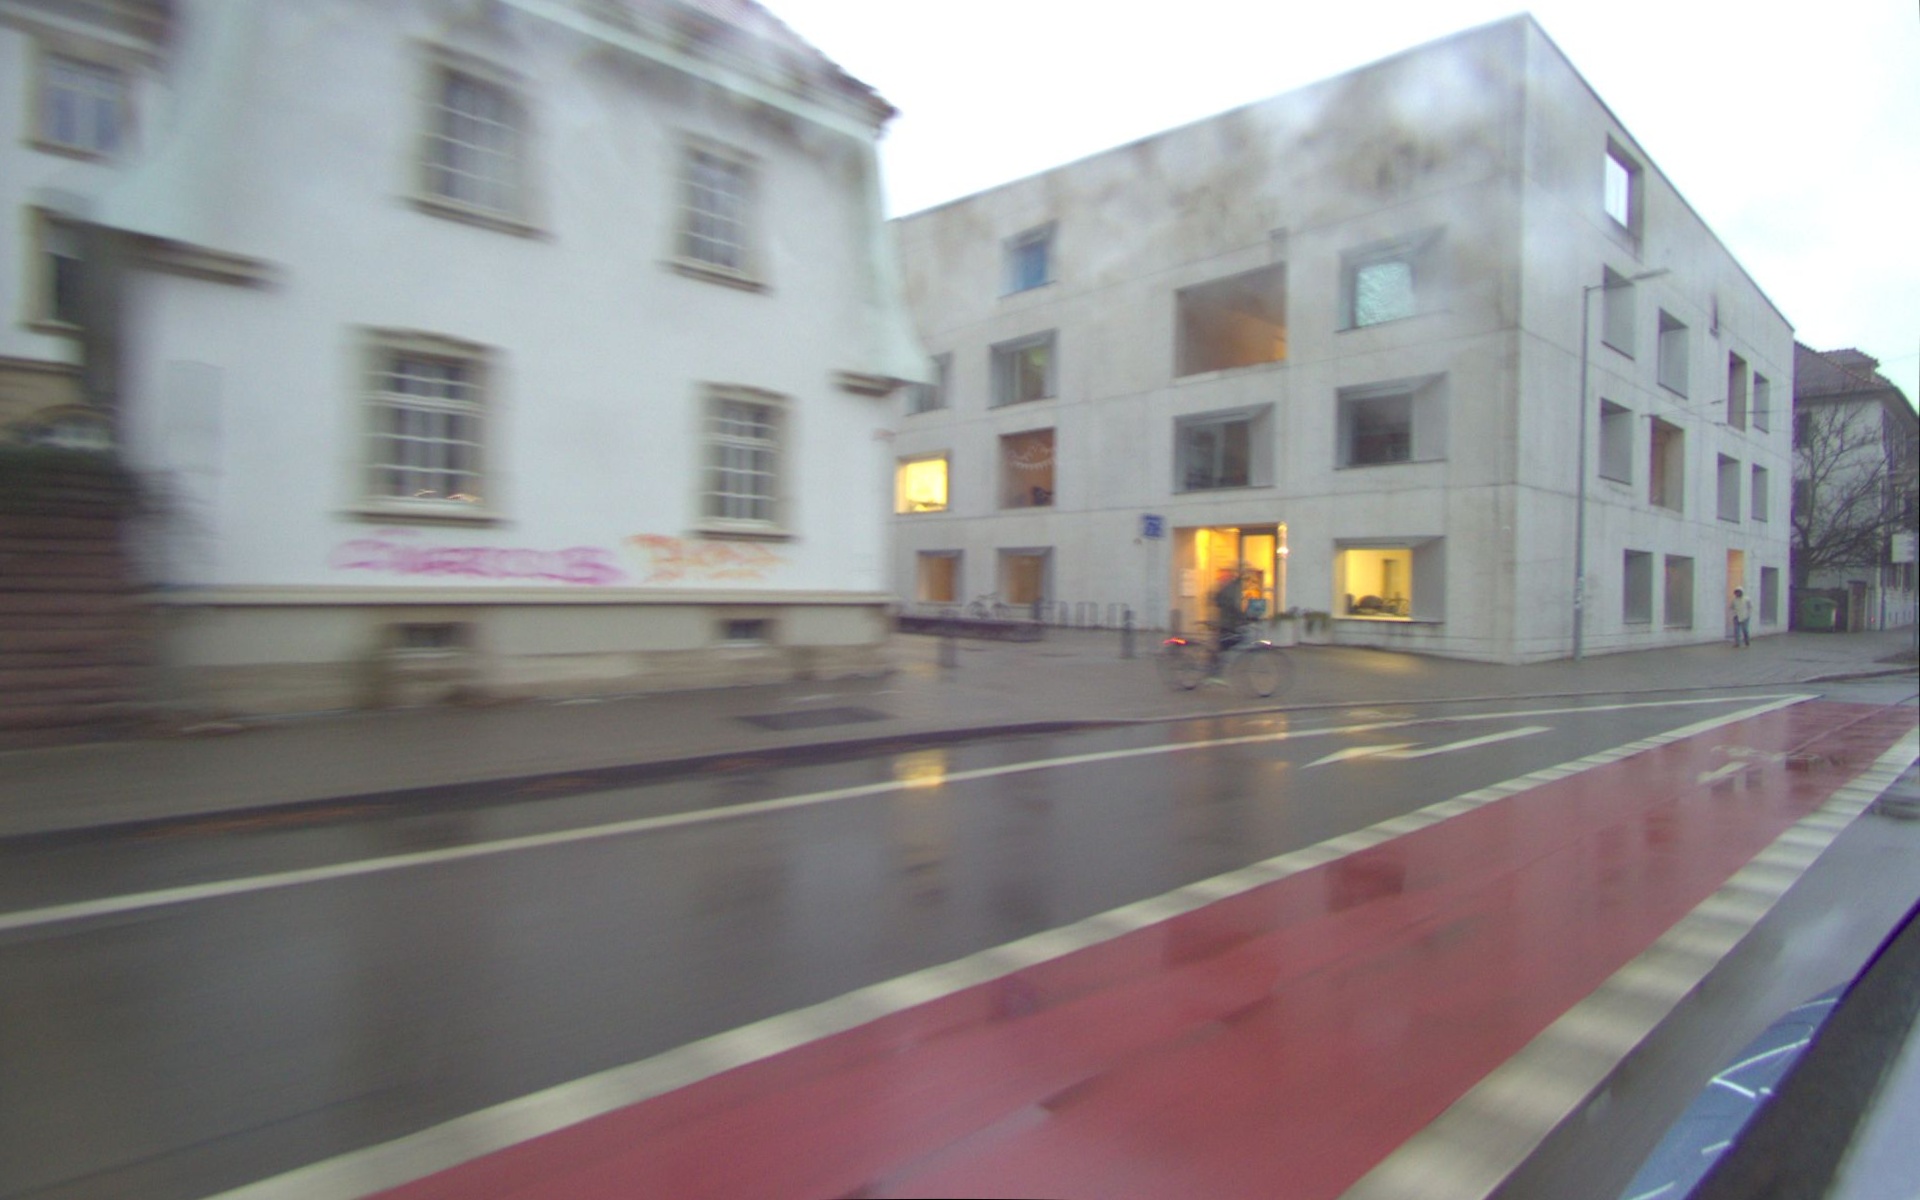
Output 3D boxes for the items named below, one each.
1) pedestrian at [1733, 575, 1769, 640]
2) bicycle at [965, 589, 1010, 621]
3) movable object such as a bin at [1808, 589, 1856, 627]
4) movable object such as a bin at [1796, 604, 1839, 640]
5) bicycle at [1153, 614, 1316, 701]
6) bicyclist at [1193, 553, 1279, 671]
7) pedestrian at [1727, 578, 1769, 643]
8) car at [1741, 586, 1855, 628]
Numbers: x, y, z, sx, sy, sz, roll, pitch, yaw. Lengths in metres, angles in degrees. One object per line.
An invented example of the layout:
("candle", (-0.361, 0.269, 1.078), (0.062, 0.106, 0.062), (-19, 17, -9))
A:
("pedestrian", (23.584, 0.219, 30.185), (0.648, 1.882, 0.657), (0, 2, -40))
("bicycle", (0.897, 0.162, 32.407), (1.526, 0.992, 0.408), (0, 1, -38))
("movable object such as a bin", (35.666, 0.306, 41.391), (1.394, 1.463, 1.258), (0, 2, -41))
("movable object such as a bin", (36.970, 0.914, 43.634), (1.395, 1.463, 1.257), (0, 2, -44))
("bicycle", (3.930, 0.787, 14.664), (0.927, 0.955, 2.123), (0, 5, -37))
("bicyclist", (3.954, 0.144, 14.524), (0.766, 1.615, 0.857), (0, 3, -37))
("pedestrian", (23.529, 0.290, 30.219), (0.705, 1.881, 0.773), (0, 2, -39))
("car", (35.036, 0.286, 42.348), (1.702, 1.668, 3.455), (0, -1, -41))
